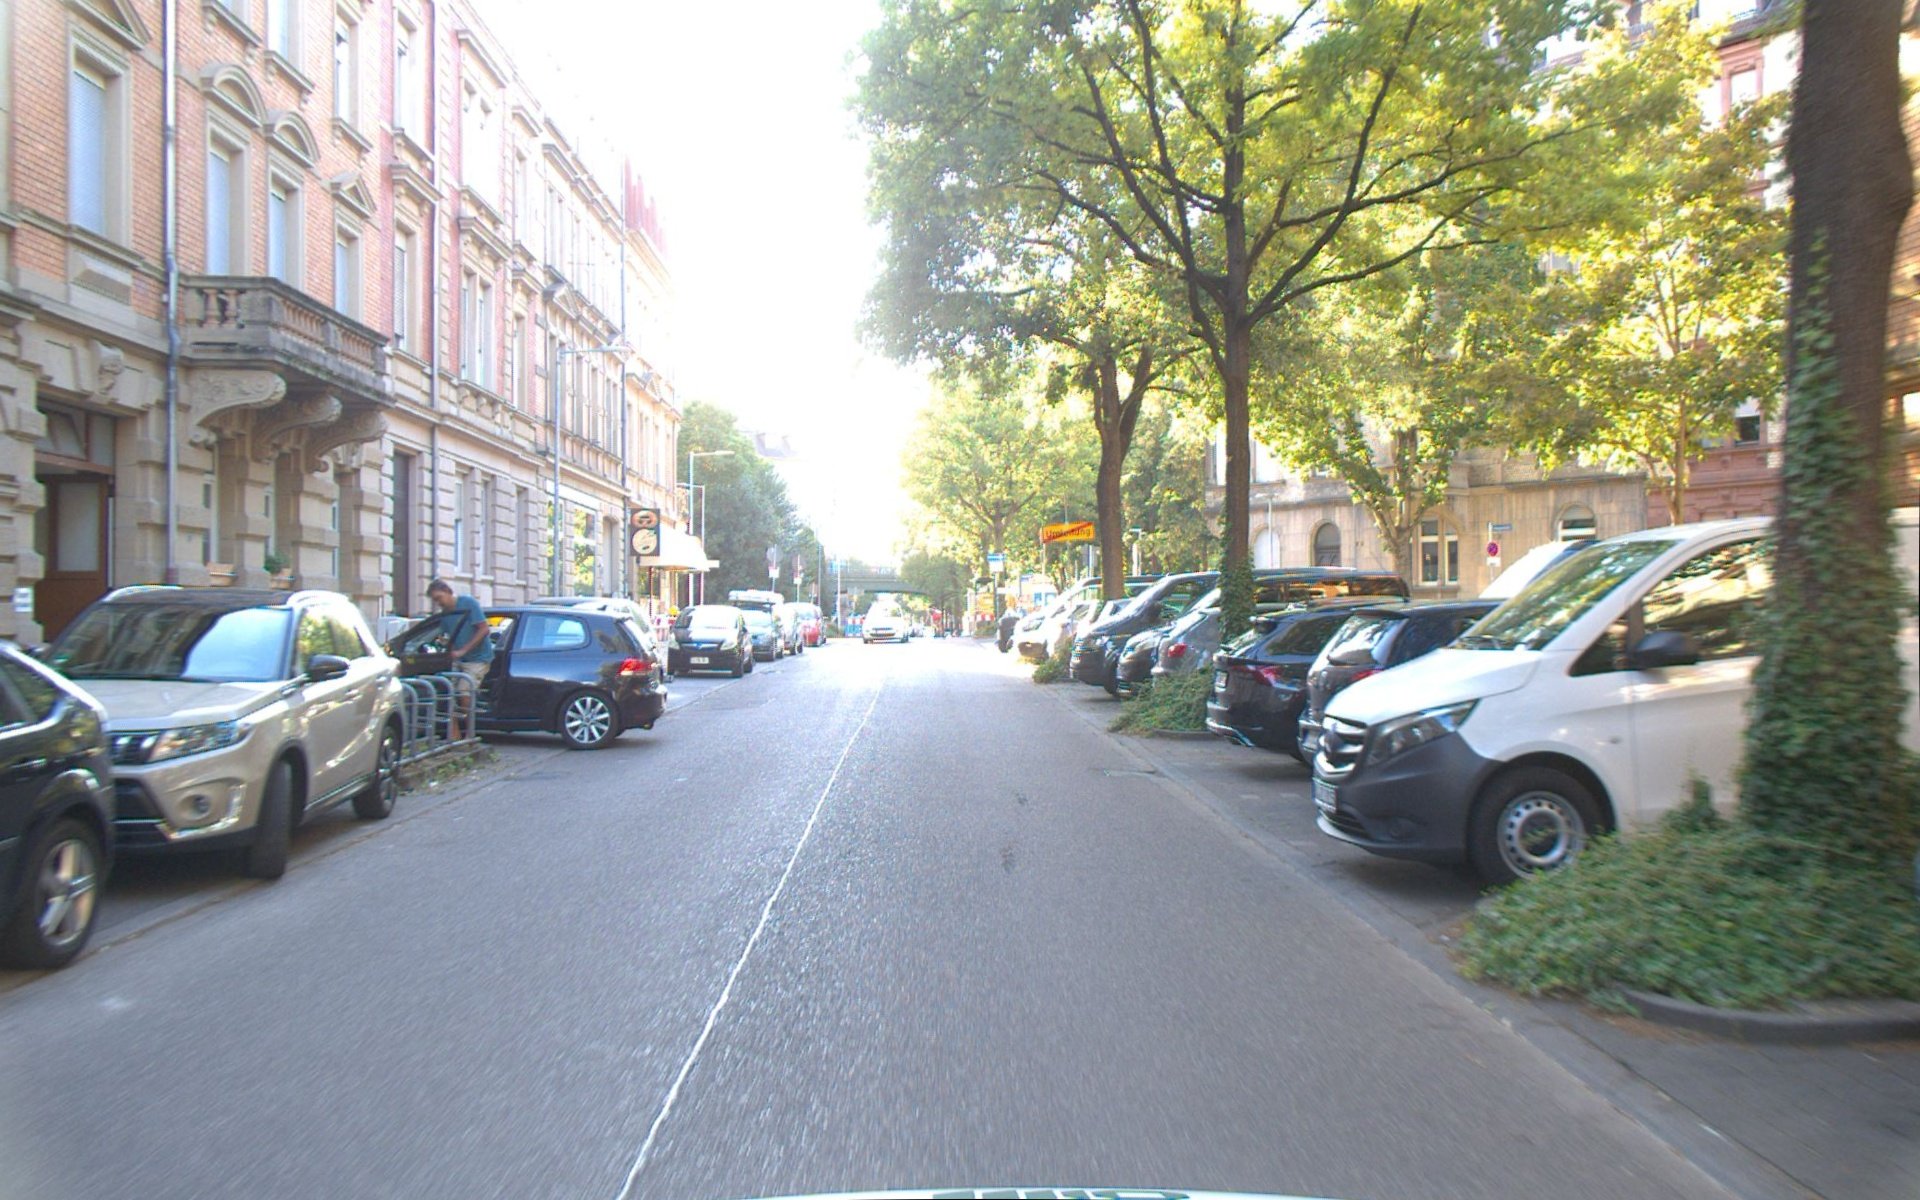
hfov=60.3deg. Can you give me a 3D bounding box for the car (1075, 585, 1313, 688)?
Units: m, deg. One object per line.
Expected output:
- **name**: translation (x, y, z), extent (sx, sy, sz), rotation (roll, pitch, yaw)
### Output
- **car**: translation (4.095, 0.624, 29.305), extent (3.907, 1.722, 1.799), rotation (0, 0, -3)

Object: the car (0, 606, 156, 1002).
- **car**: translation (-4.461, 0.769, 5.535), extent (1.614, 1.498, 3.999), rotation (2, 0, -2)

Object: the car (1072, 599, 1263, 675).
- **car**: translation (4.304, 0.755, 34.697), extent (3.763, 1.542, 1.847), rotation (0, 0, -2)

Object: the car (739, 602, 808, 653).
- **car**: translation (-5.767, 0.830, 51.442), extent (1.690, 1.462, 3.995), rotation (2, 0, -1)

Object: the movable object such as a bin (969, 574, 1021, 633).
- **movable object such as a bin**: translation (1.709, 0.191, 79.619), extent (1.951, 2.747, 3.113), rotation (0, -1, 12)

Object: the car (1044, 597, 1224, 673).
- **car**: translation (3.810, 0.760, 36.573), extent (3.763, 1.623, 1.740), rotation (0, 0, -2)

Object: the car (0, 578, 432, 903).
- **car**: translation (-4.638, 0.709, 10.412), extent (1.616, 1.602, 4.044), rotation (2, 0, -6)

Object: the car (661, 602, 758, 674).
- **car**: translation (-5.400, 0.787, 36.059), extent (1.669, 1.480, 4.018), rotation (0, 0, -3)

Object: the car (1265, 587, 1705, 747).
- **car**: translation (5.360, 0.658, 17.257), extent (3.998, 1.524, 1.843), rotation (-1, 0, -1)

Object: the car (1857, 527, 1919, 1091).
- **car**: translation (4.802, 0.606, 4.548), extent (3.809, 1.678, 1.722), rotation (0, 0, -6)

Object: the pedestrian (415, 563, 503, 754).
- **pedestrian**: translation (-5.161, 0.590, 17.055), extent (0.579, 1.921, 0.639), rotation (-1, 0, 29)

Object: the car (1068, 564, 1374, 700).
- **car**: translation (4.099, 0.484, 26.475), extent (4.524, 2.049, 1.998), rotation (0, 0, -4)

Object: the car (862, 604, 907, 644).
- **car**: translation (-2.956, 0.929, 65.467), extent (1.713, 1.535, 3.999), rotation (0, 0, -2)

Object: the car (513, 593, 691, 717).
- **car**: translation (-4.969, 0.710, 23.435), extent (1.706, 1.594, 3.894), rotation (0, 0, -1)

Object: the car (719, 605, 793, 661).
- **car**: translation (-5.661, 0.886, 46.226), extent (1.729, 1.462, 4.298), rotation (0, 0, -3)

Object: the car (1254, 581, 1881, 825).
- **car**: translation (4.330, 0.675, 12.081), extent (3.913, 1.500, 1.778), rotation (-2, 0, -9)

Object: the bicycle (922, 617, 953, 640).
- **bicycle**: translation (-0.984, 1.242, 72.163), extent (0.790, 0.985, 2.098), rotation (1, 0, -17)

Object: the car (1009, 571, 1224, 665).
- **car**: translation (3.659, 0.416, 39.375), extent (4.873, 2.133, 2.105), rotation (0, 0, -2)

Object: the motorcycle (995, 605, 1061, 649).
- **motorcycle**: translation (2.172, 0.850, 52.727), extent (1.983, 1.307, 0.903), rotation (-2, 0, -3)

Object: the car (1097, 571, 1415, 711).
- **car**: translation (4.226, 0.564, 24.003), extent (4.185, 1.918, 1.937), rotation (0, 0, -5)

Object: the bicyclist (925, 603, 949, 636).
- **bicyclist**: translation (-1.011, 0.855, 72.239), extent (0.791, 1.407, 0.980), rotation (1, -1, -19)

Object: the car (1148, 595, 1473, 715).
- **car**: translation (4.488, 0.693, 21.648), extent (3.903, 1.473, 1.891), rotation (0, 0, 3)

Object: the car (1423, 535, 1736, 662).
- **car**: translation (13.028, -0.027, 34.981), extent (5.783, 2.582, 2.376), rotation (0, 0, -8)

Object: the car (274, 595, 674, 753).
- **car**: translation (-5.155, 0.755, 18.025), extent (3.911, 1.556, 1.823), rotation (-1, 0, -7)

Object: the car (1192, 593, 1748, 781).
- **car**: translation (4.337, 0.711, 14.564), extent (4.281, 1.481, 1.933), rotation (-1, 0, -1)

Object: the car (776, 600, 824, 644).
- **car**: translation (-5.934, 0.815, 61.772), extent (1.636, 1.557, 3.997), rotation (0, 0, -4)

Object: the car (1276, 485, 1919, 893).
- **car**: translation (4.474, 0.485, 9.191), extent (4.988, 1.974, 2.157), rotation (0, -4, -1)
